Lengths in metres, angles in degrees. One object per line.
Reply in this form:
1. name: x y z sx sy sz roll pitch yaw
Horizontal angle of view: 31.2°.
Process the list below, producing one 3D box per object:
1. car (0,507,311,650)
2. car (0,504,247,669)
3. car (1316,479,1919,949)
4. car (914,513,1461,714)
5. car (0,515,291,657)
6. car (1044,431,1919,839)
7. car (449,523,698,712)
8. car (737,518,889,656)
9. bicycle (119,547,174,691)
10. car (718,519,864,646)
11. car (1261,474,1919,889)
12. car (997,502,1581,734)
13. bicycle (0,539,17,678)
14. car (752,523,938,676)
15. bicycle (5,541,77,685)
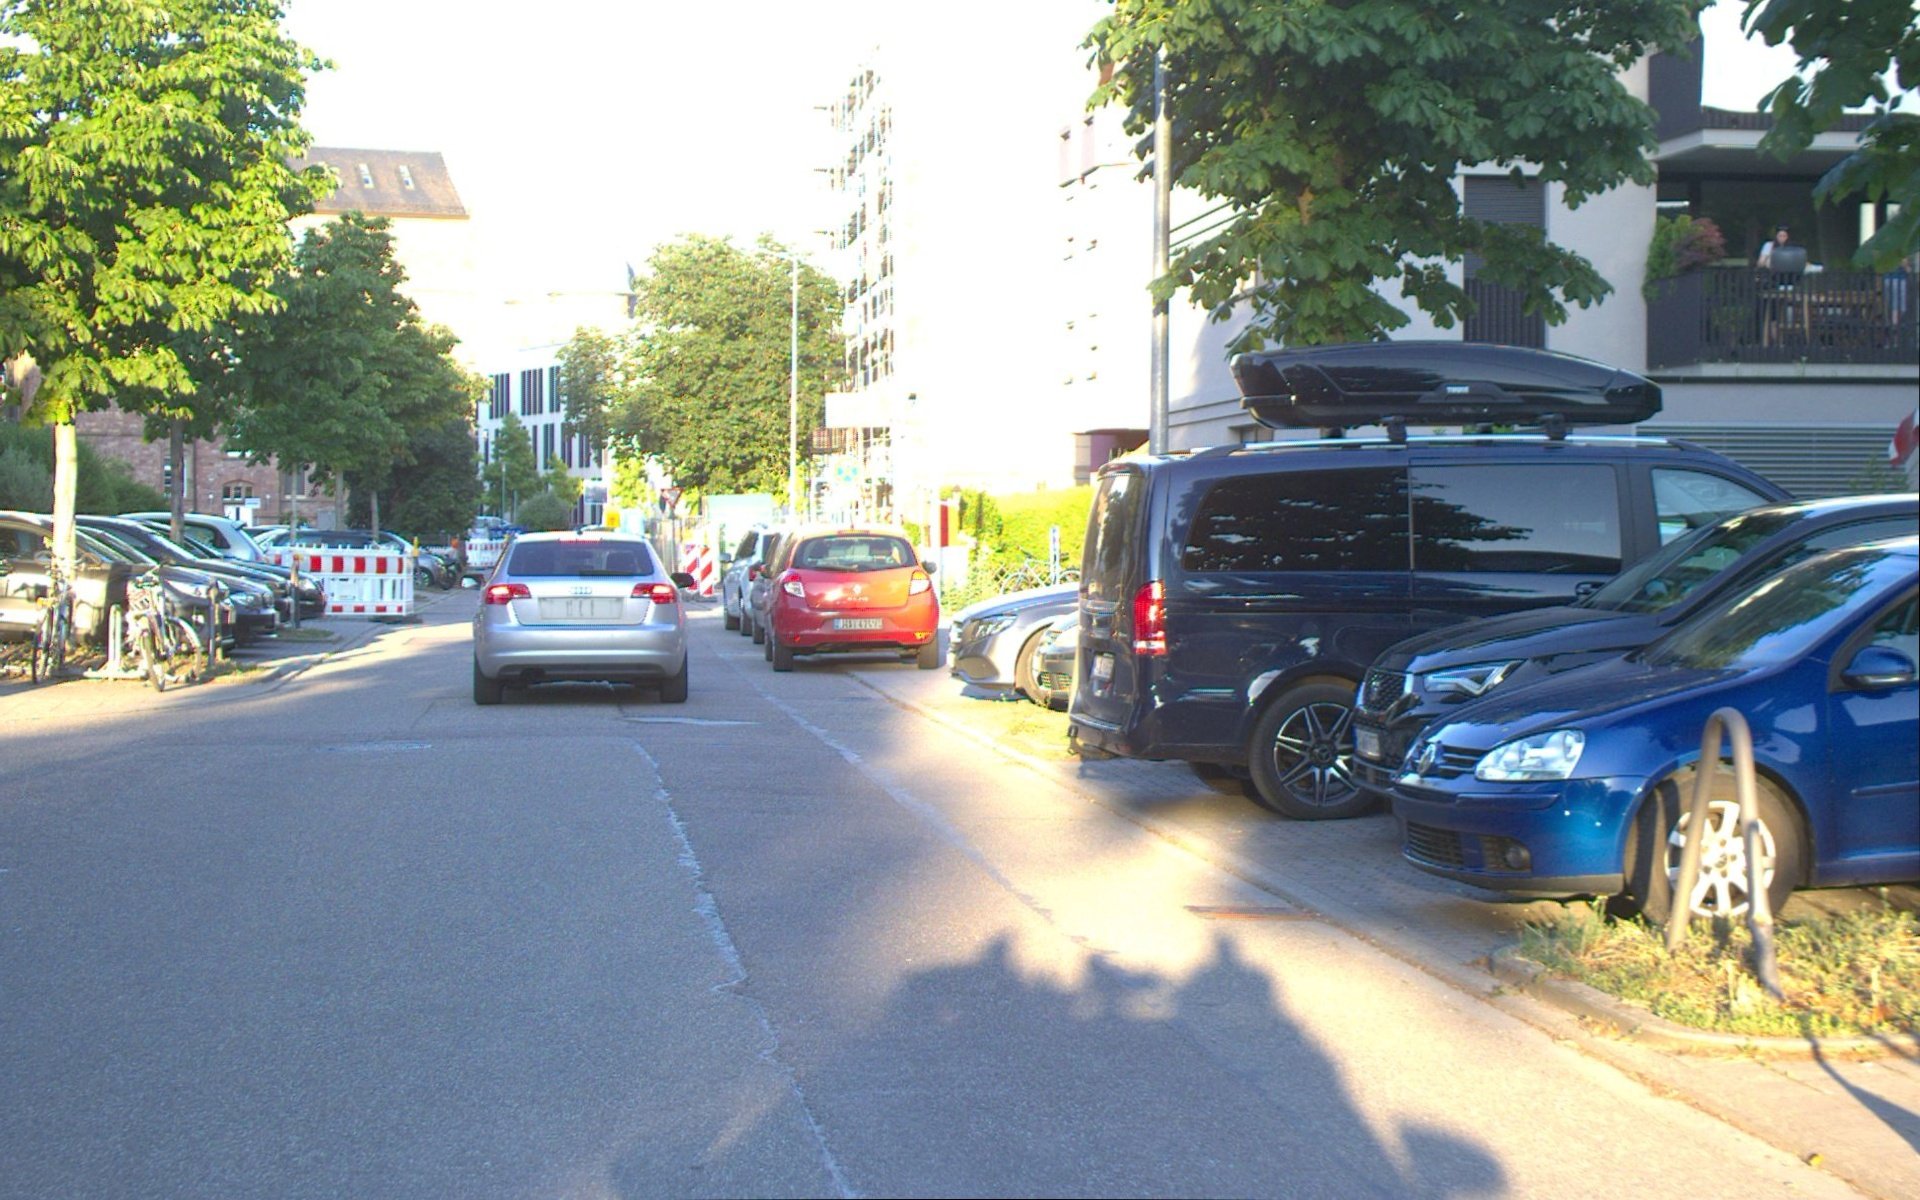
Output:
1. car: -9.694 -0.267 40.364 3.986 1.600 1.873 1 1 -8
2. car: -9.398 -0.164 35.150 3.986 1.620 2.001 1 1 -8
3. car: 3.563 0.395 13.257 3.986 1.645 1.765 1 1 -11
4. car: 1.825 0.084 28.196 4.148 1.566 1.798 0 2 -11
5. car: -9.427 -0.176 37.703 3.986 1.475 2.001 1 1 -8
6. car: 2.877 0.133 18.355 4.556 2.016 2.102 0 2 -9
7. car: -3.338 0.096 29.111 1.807 1.483 4.001 0 1 -11
8. car: -1.814 -0.187 41.550 1.663 1.568 3.441 1 1 -5
9. bicycle: -7.261 0.149 30.712 0.406 1.223 1.988 1 1 -12
10. car: -2.323 -0.270 46.407 1.808 1.607 3.581 1 1 -5
11. car: 3.576 0.343 15.839 3.986 1.762 2.001 1 1 -8
12. car: 2.413 0.118 25.785 3.938 1.643 1.977 1 1 -11
13. bicycle: -8.723 0.074 30.599 0.406 1.223 1.988 1 1 -9
14. car: -1.248 -0.043 36.008 1.730 1.478 3.558 1 1 -5
15. bicycle: -8.177 0.095 30.633 0.406 1.223 1.988 1 1 -9
